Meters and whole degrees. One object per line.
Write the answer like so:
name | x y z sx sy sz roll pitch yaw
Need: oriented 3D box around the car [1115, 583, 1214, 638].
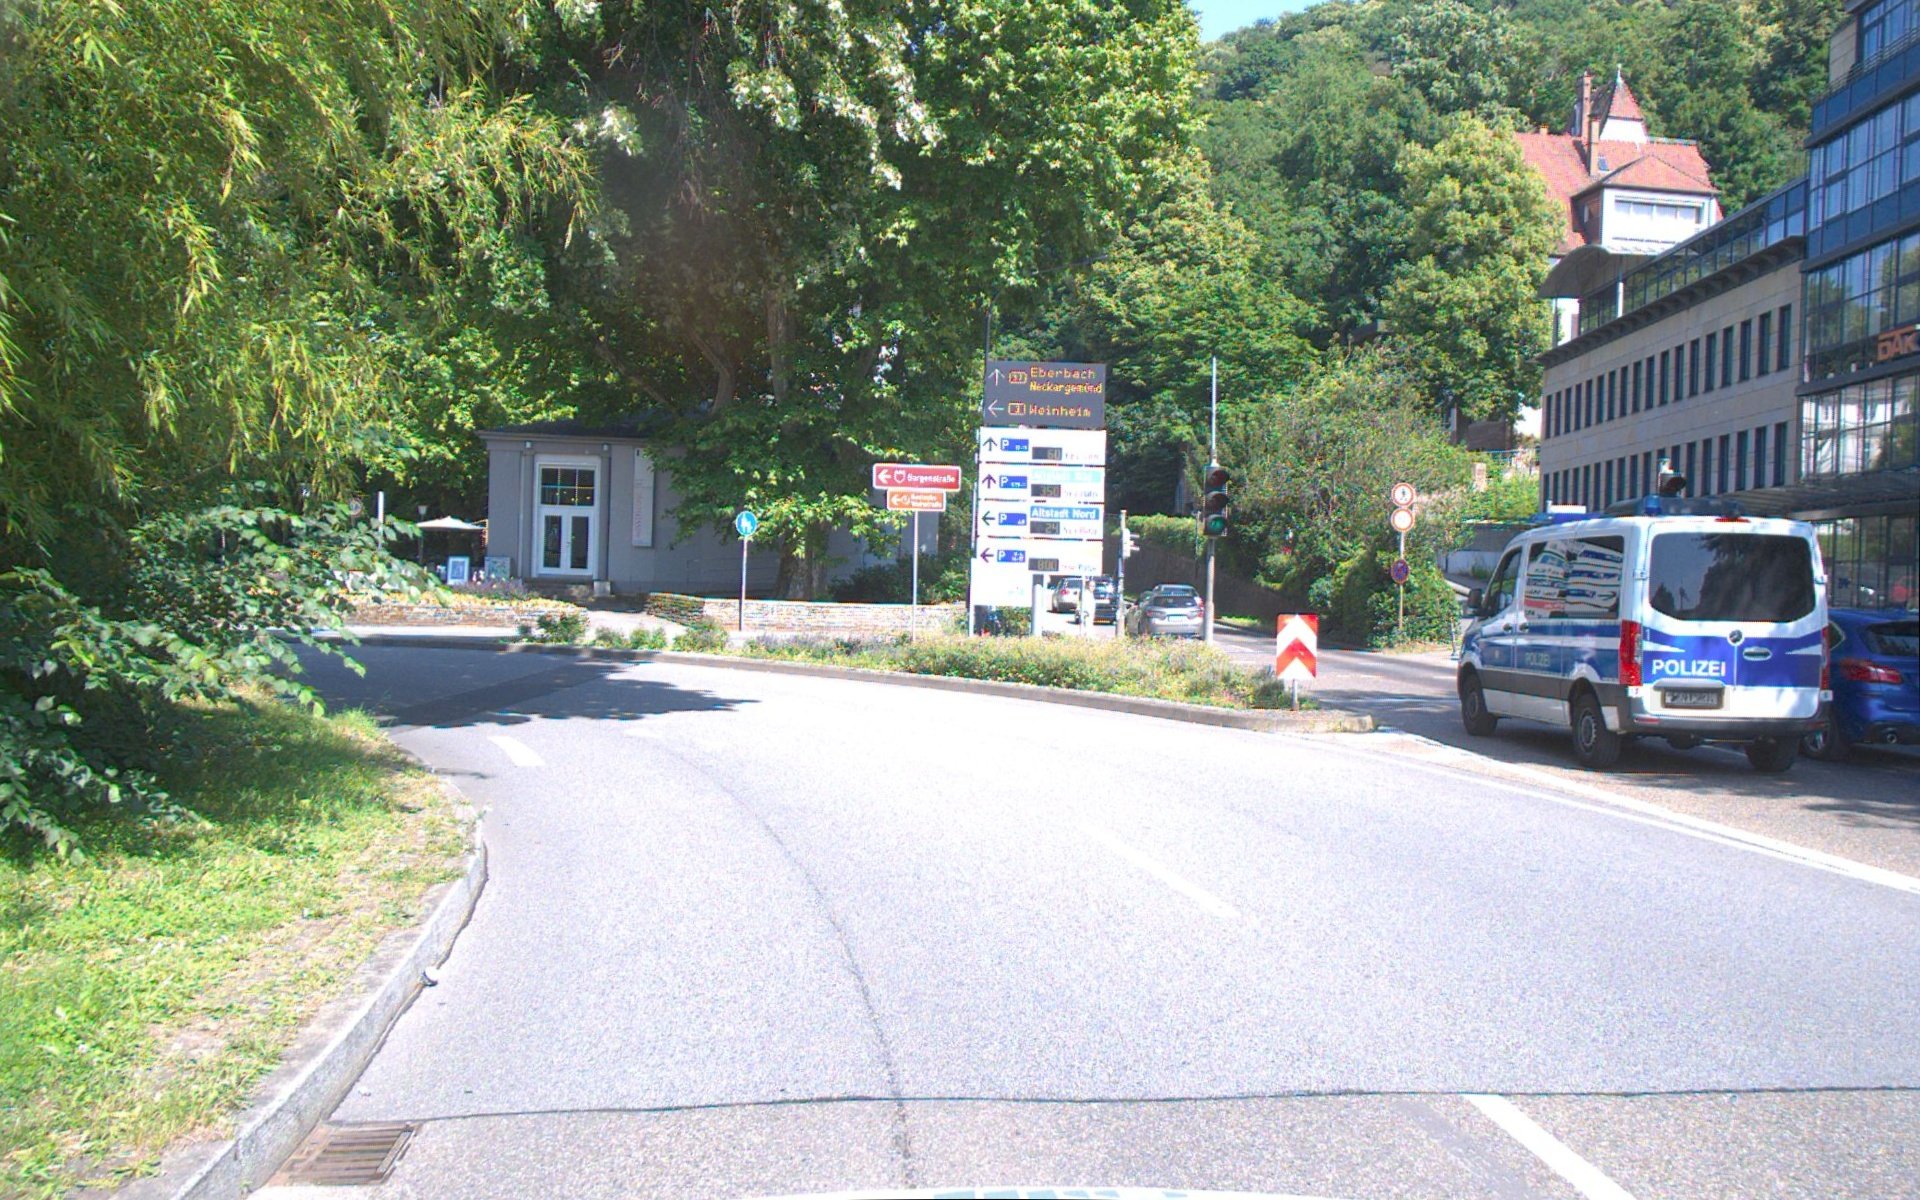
car | 5.562 0.269 45.394 1.723 1.357 3.794 2 1 -9

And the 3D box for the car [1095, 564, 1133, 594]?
car | 8.294 -1.133 89.239 1.720 1.486 3.646 2 1 1

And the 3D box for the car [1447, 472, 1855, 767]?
car | 6.865 0.157 17.154 2.031 2.552 4.928 2 0 -1

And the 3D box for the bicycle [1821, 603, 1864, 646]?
bicycle | 22.256 0.617 41.719 0.396 1.030 1.342 1 1 2

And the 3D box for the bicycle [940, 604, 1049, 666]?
bicycle | 0.682 0.688 32.856 2.036 1.132 0.756 2 1 27

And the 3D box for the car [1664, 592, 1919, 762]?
car | 9.643 0.770 18.287 1.685 1.568 4.270 3 1 -3

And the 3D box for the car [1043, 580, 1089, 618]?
car | 4.465 -0.073 70.026 1.720 1.486 3.646 2 1 1

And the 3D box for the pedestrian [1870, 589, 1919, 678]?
pedestrian | 18.245 0.639 32.040 0.755 1.691 0.830 2 1 3

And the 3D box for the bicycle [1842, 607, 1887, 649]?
bicycle | 21.970 0.676 40.186 0.396 0.957 1.342 1 1 2

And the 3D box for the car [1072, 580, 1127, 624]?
car | 4.970 0.041 59.422 1.720 1.486 3.495 2 1 1

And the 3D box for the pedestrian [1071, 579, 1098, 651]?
pedestrian | 2.894 0.331 38.493 0.535 1.649 0.635 1 1 11

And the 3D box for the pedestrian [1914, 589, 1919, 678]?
pedestrian | 18.668 0.655 31.303 0.754 1.691 0.830 2 1 6

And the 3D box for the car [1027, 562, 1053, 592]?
car | 5.595 -1.607 115.865 1.720 1.971 3.495 2 1 1

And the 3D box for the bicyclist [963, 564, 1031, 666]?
bicyclist | 0.732 0.287 32.822 1.104 1.966 0.747 2 0 27

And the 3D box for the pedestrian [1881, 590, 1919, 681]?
pedestrian | 18.031 0.662 31.263 0.755 1.691 0.830 2 1 2

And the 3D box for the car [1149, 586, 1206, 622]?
car | 8.111 0.119 61.825 1.720 1.234 3.495 2 1 1
